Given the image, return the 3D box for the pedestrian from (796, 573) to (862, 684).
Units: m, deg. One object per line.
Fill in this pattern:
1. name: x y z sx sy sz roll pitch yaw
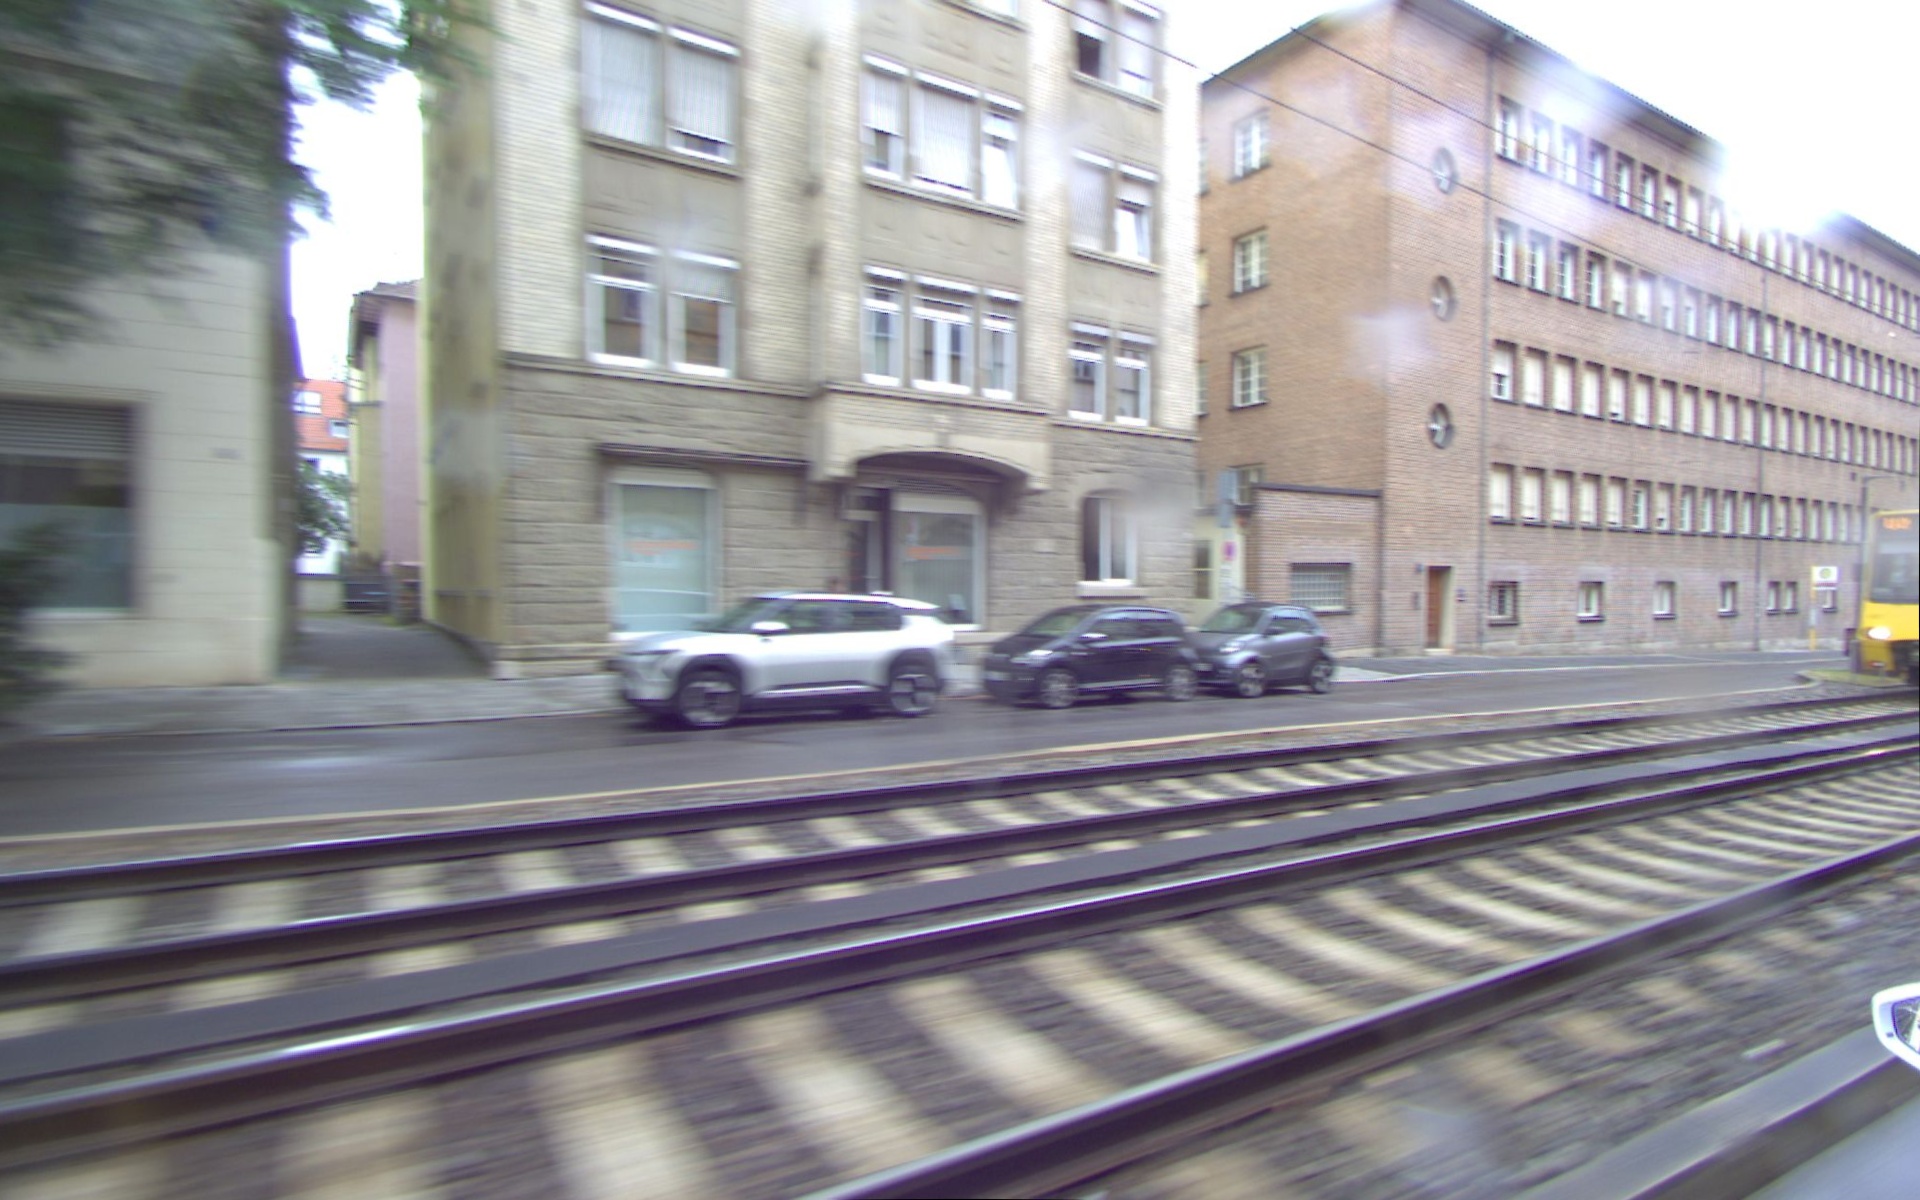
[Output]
1. pedestrian: -2.053 0.433 15.731 0.762 1.685 0.724 1 0 -33

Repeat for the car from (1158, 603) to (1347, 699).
1. car: 5.077 0.832 17.379 3.013 1.486 1.562 1 1 -34

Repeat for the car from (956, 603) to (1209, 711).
1. car: 1.919 0.806 15.410 3.647 1.434 1.657 1 1 -33

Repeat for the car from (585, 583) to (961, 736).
1. car: -2.309 0.652 12.740 4.282 1.627 1.949 1 1 -33

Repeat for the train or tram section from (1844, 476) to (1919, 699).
1. train or tram section: 24.988 -0.086 22.990 17.029 4.116 2.729 1 -1 -33
